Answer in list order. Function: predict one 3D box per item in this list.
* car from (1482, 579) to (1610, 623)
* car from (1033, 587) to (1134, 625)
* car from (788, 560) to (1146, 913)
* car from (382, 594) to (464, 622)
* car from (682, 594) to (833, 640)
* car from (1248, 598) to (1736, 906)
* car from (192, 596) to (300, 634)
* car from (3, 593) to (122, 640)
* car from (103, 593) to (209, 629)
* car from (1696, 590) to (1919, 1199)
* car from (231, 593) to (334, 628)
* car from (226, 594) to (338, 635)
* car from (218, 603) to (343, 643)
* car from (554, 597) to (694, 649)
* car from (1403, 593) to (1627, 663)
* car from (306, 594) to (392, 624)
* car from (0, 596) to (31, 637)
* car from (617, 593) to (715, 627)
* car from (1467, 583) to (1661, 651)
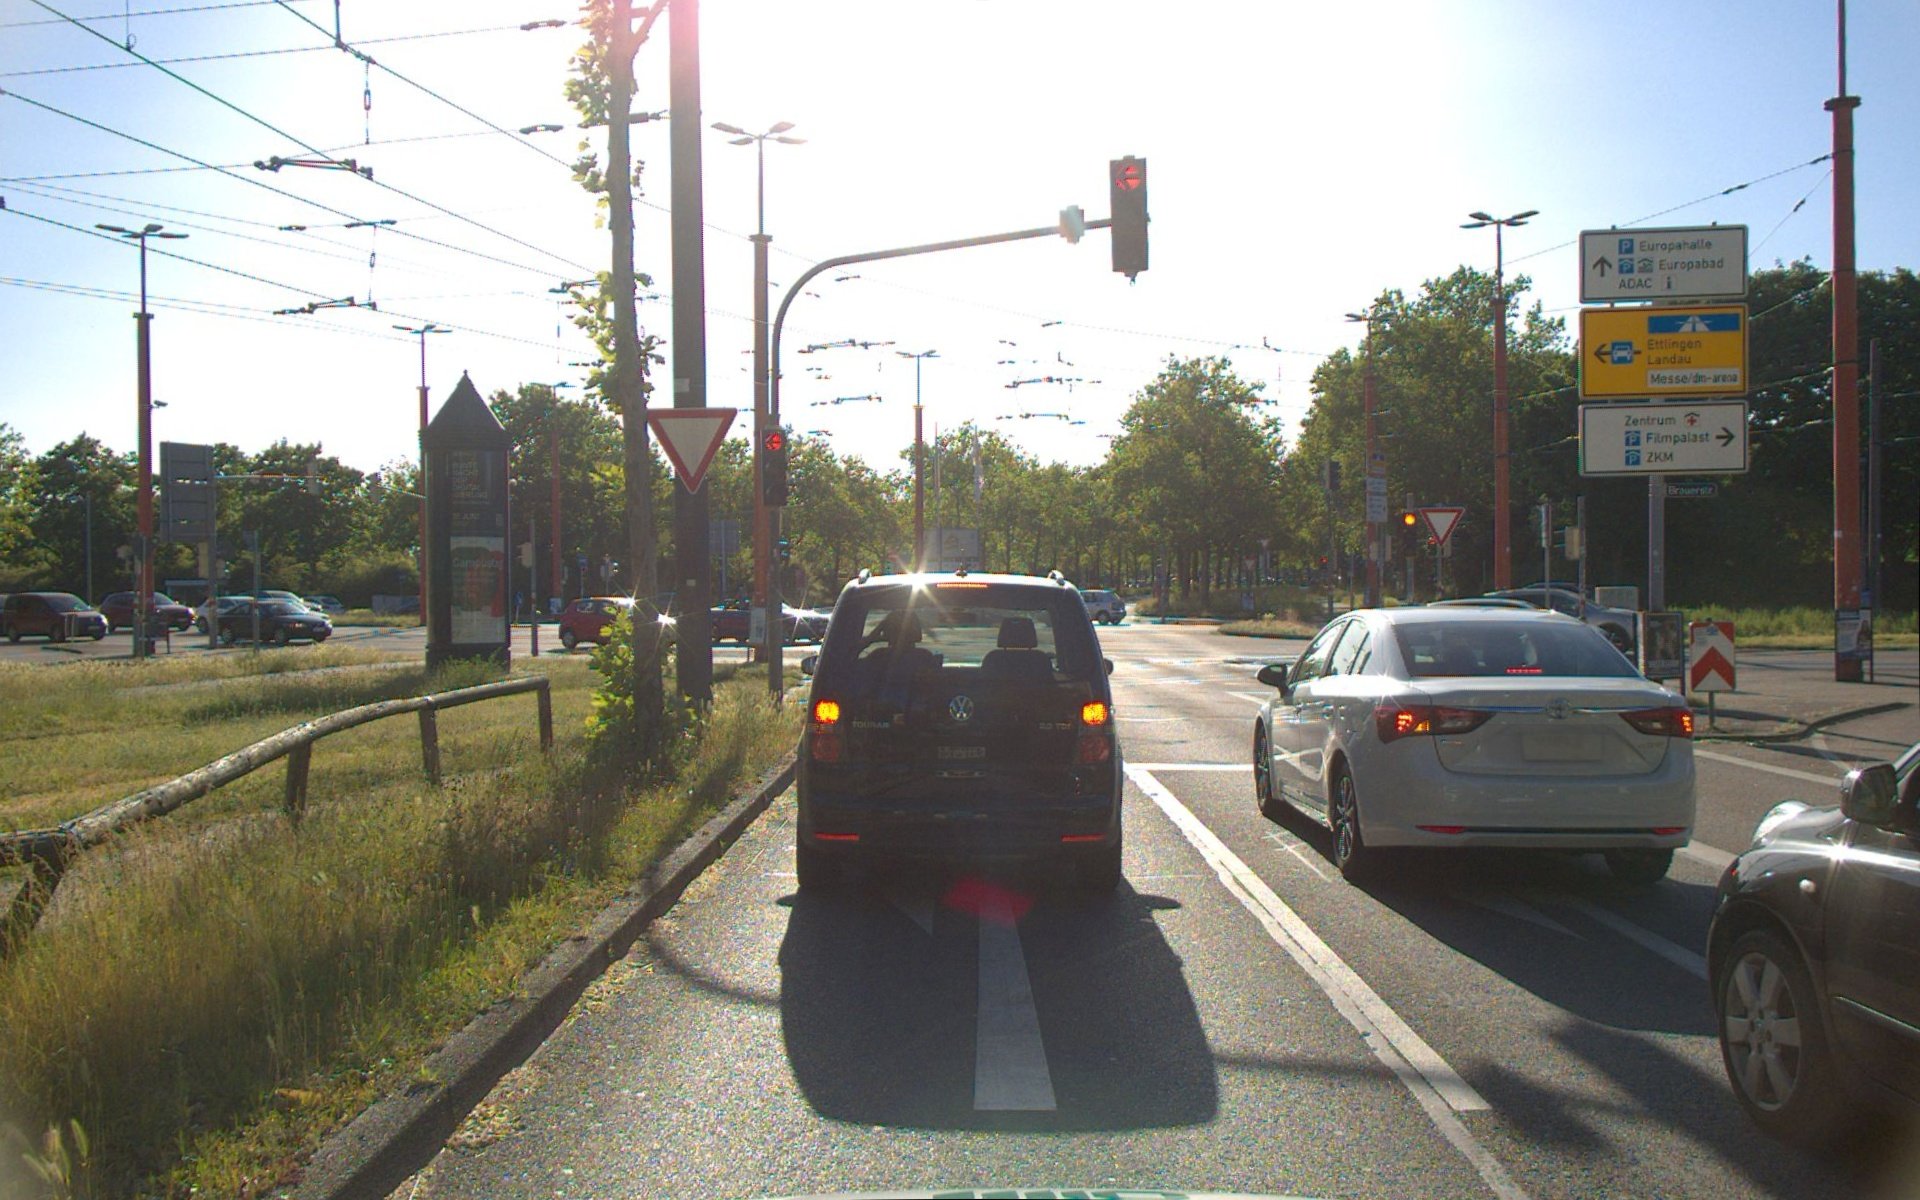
[{"bbox_3d":[21.997,0.043,62.084,4.365,1.624,1.998,0,0,26],"label":"car"},{"bbox_3d":[5.352,0.256,71.516,3.909,1.608,1.998,0,0,27],"label":"car"},{"bbox_3d":[0.006,0.642,9.866,1.702,1.670,3.999,0,0,-1],"label":"car"},{"bbox_3d":[-31.194,0.464,96.003,4.365,1.624,1.998,0,0,26],"label":"car"},{"bbox_3d":[-6.403,0.524,52.226,4.564,1.386,1.769,0,0,28],"label":"car"},{"bbox_3d":[2.947,0.738,10.111,1.679,1.480,4.144,0,0,0],"label":"car"},{"bbox_3d":[-29.349,0.600,67.992,4.127,1.489,1.912,0,0,27],"label":"car"},{"bbox_3d":[-34.344,0.607,63.281,4.258,1.762,1.841,0,0,25],"label":"car"},{"bbox_3d":[-34.339,0.442,70.615,4.275,1.489,1.912,0,0,27],"label":"car"},{"bbox_3d":[3.127,0.741,3.512,1.525,1.532,3.515,0,0,-1],"label":"car"},{"bbox_3d":[-29.269,0.444,71.401,4.127,1.489,1.912,0,0,27],"label":"car"},{"bbox_3d":[-25.701,0.547,62.689,4.140,1.505,1.751,0,0,29],"label":"car"},{"bbox_3d":[-23.533,0.772,57.257,4.222,1.350,1.759,0,0,29],"label":"car"},{"bbox_3d":[-10.143,0.671,49.870,3.909,1.521,1.769,0,0,27],"label":"car"},{"bbox_3d":[12.742,0.612,38.048,4.665,1.521,1.768,0,0,29],"label":"car"},{"bbox_3d":[-34.384,0.498,93.082,4.362,1.624,2.000,0,0,23],"label":"car"},{"bbox_3d":[-41.587,0.671,70.036,4.463,1.697,1.840,0,0,28],"label":"car"},{"bbox_3d":[-14.341,0.493,80.682,4.365,1.624,1.998,0,0,26],"label":"car"},{"bbox_3d":[14.814,0.396,40.611,4.268,1.609,1.769,0,0,28],"label":"car"}]
